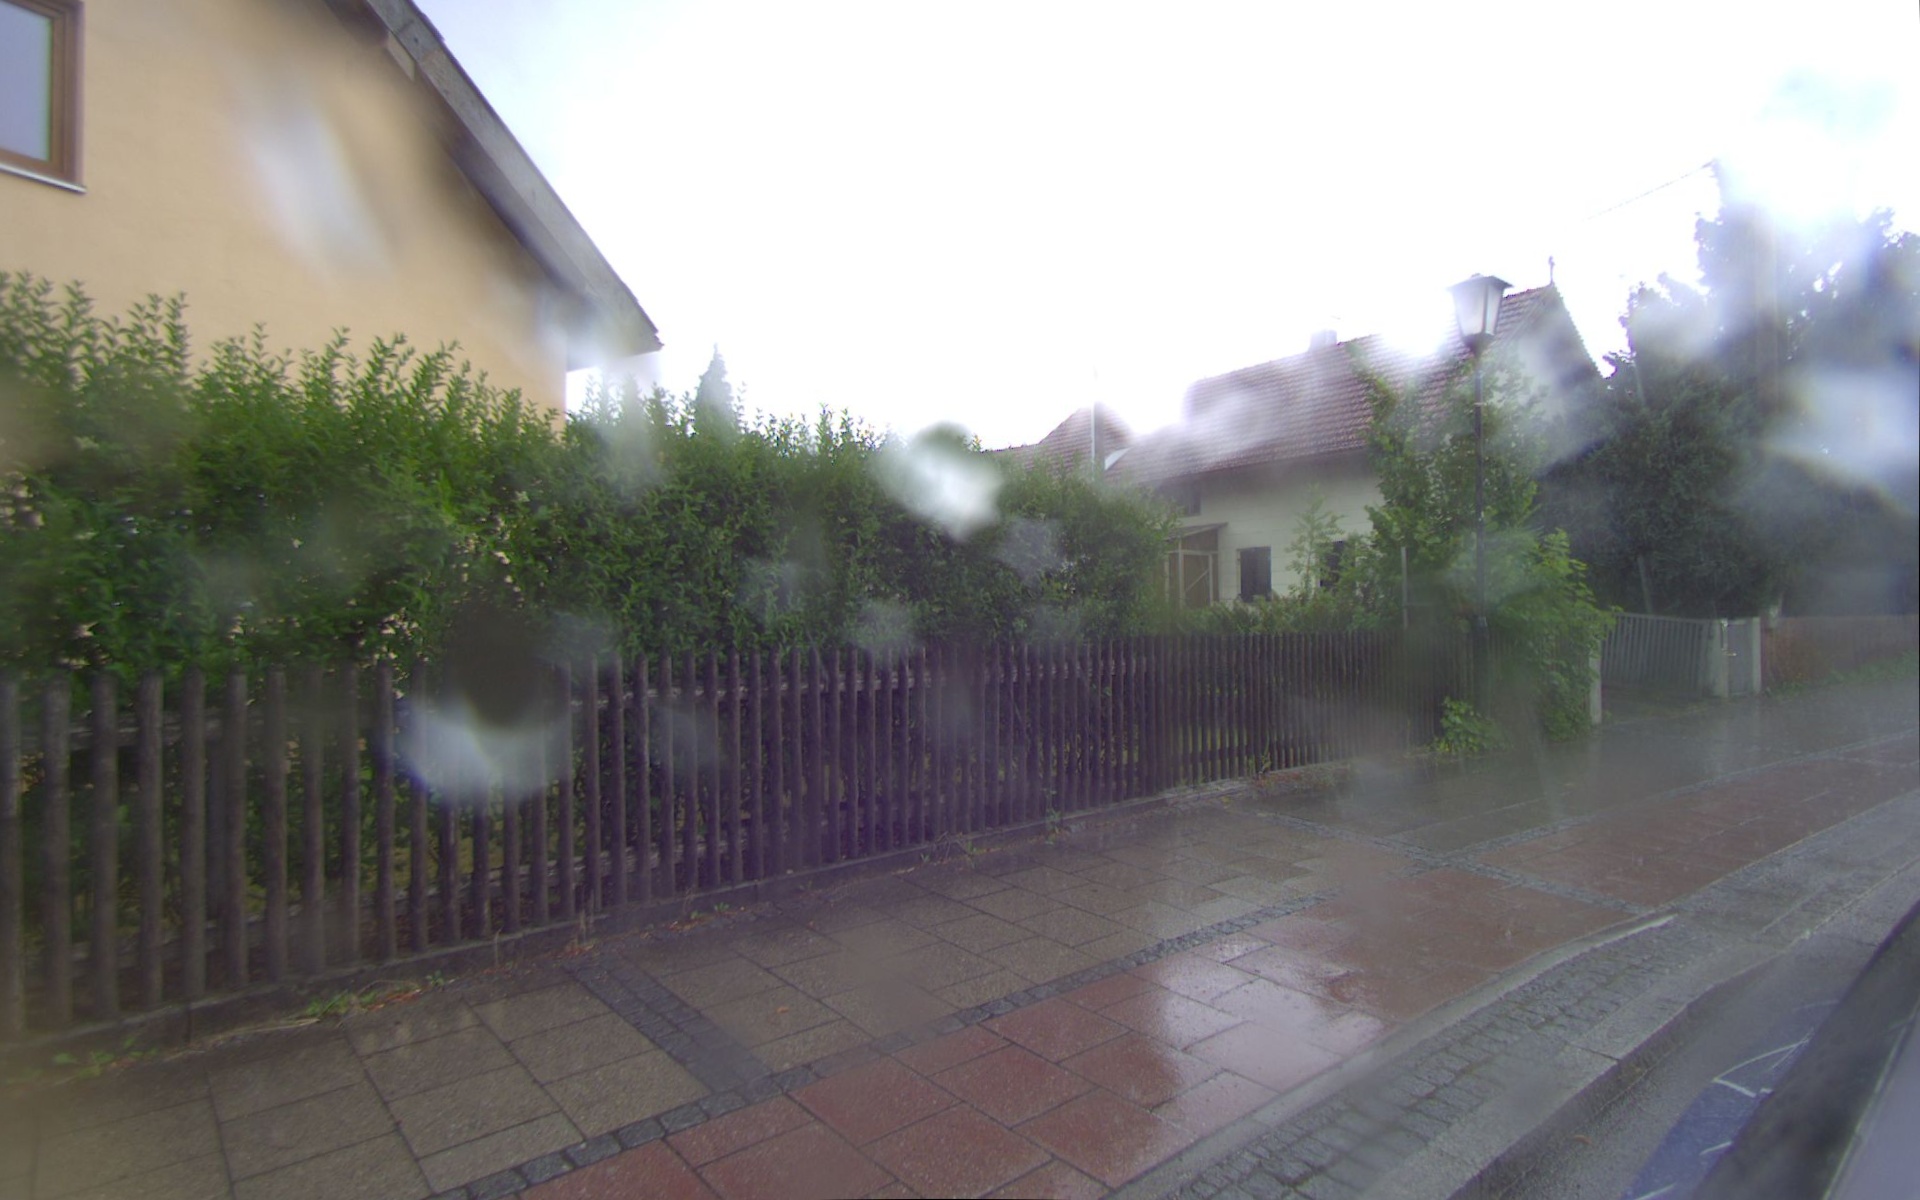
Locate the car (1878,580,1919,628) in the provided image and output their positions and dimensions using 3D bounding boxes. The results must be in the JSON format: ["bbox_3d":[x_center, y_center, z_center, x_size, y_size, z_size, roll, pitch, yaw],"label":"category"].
[{"bbox_3d":[30.504,0.175,30.179,1.798,1.438,4.438,-1,3,-41],"label":"car"}]

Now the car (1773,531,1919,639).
[{"bbox_3d":[24.985,-0.405,26.642,1.966,2.761,5.311,-1,2,-42],"label":"car"}]
